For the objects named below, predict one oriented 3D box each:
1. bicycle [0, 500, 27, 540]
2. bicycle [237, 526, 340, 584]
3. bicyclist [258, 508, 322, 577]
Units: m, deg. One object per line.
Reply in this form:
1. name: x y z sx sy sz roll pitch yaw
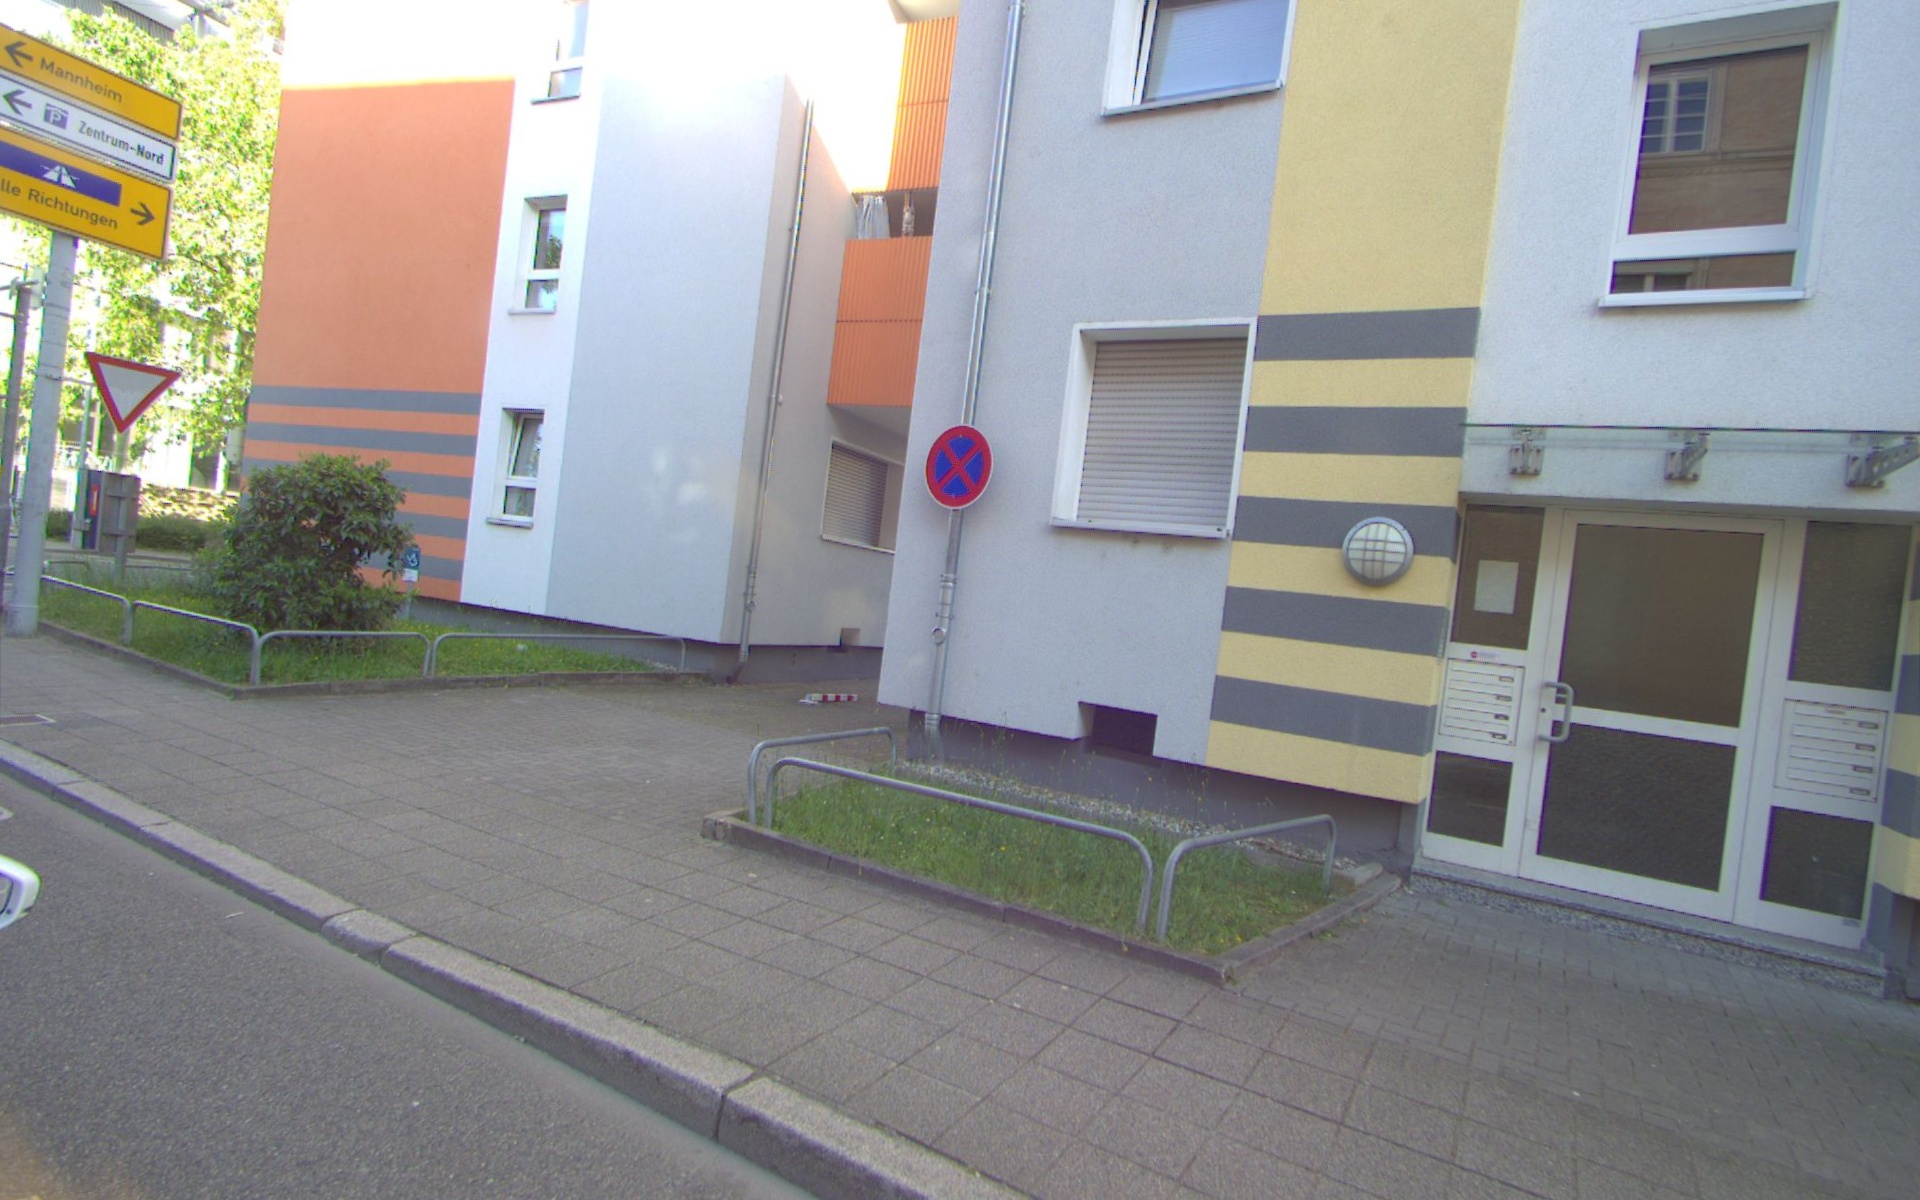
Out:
1. bicycle: -26.398 -2.246 27.390 1.409 1.021 0.379 7 1 -11
2. bicycle: -16.638 -1.097 24.961 0.583 1.166 1.963 7 0 37
3. bicyclist: -16.611 -1.416 24.953 0.583 1.546 1.075 8 1 37
